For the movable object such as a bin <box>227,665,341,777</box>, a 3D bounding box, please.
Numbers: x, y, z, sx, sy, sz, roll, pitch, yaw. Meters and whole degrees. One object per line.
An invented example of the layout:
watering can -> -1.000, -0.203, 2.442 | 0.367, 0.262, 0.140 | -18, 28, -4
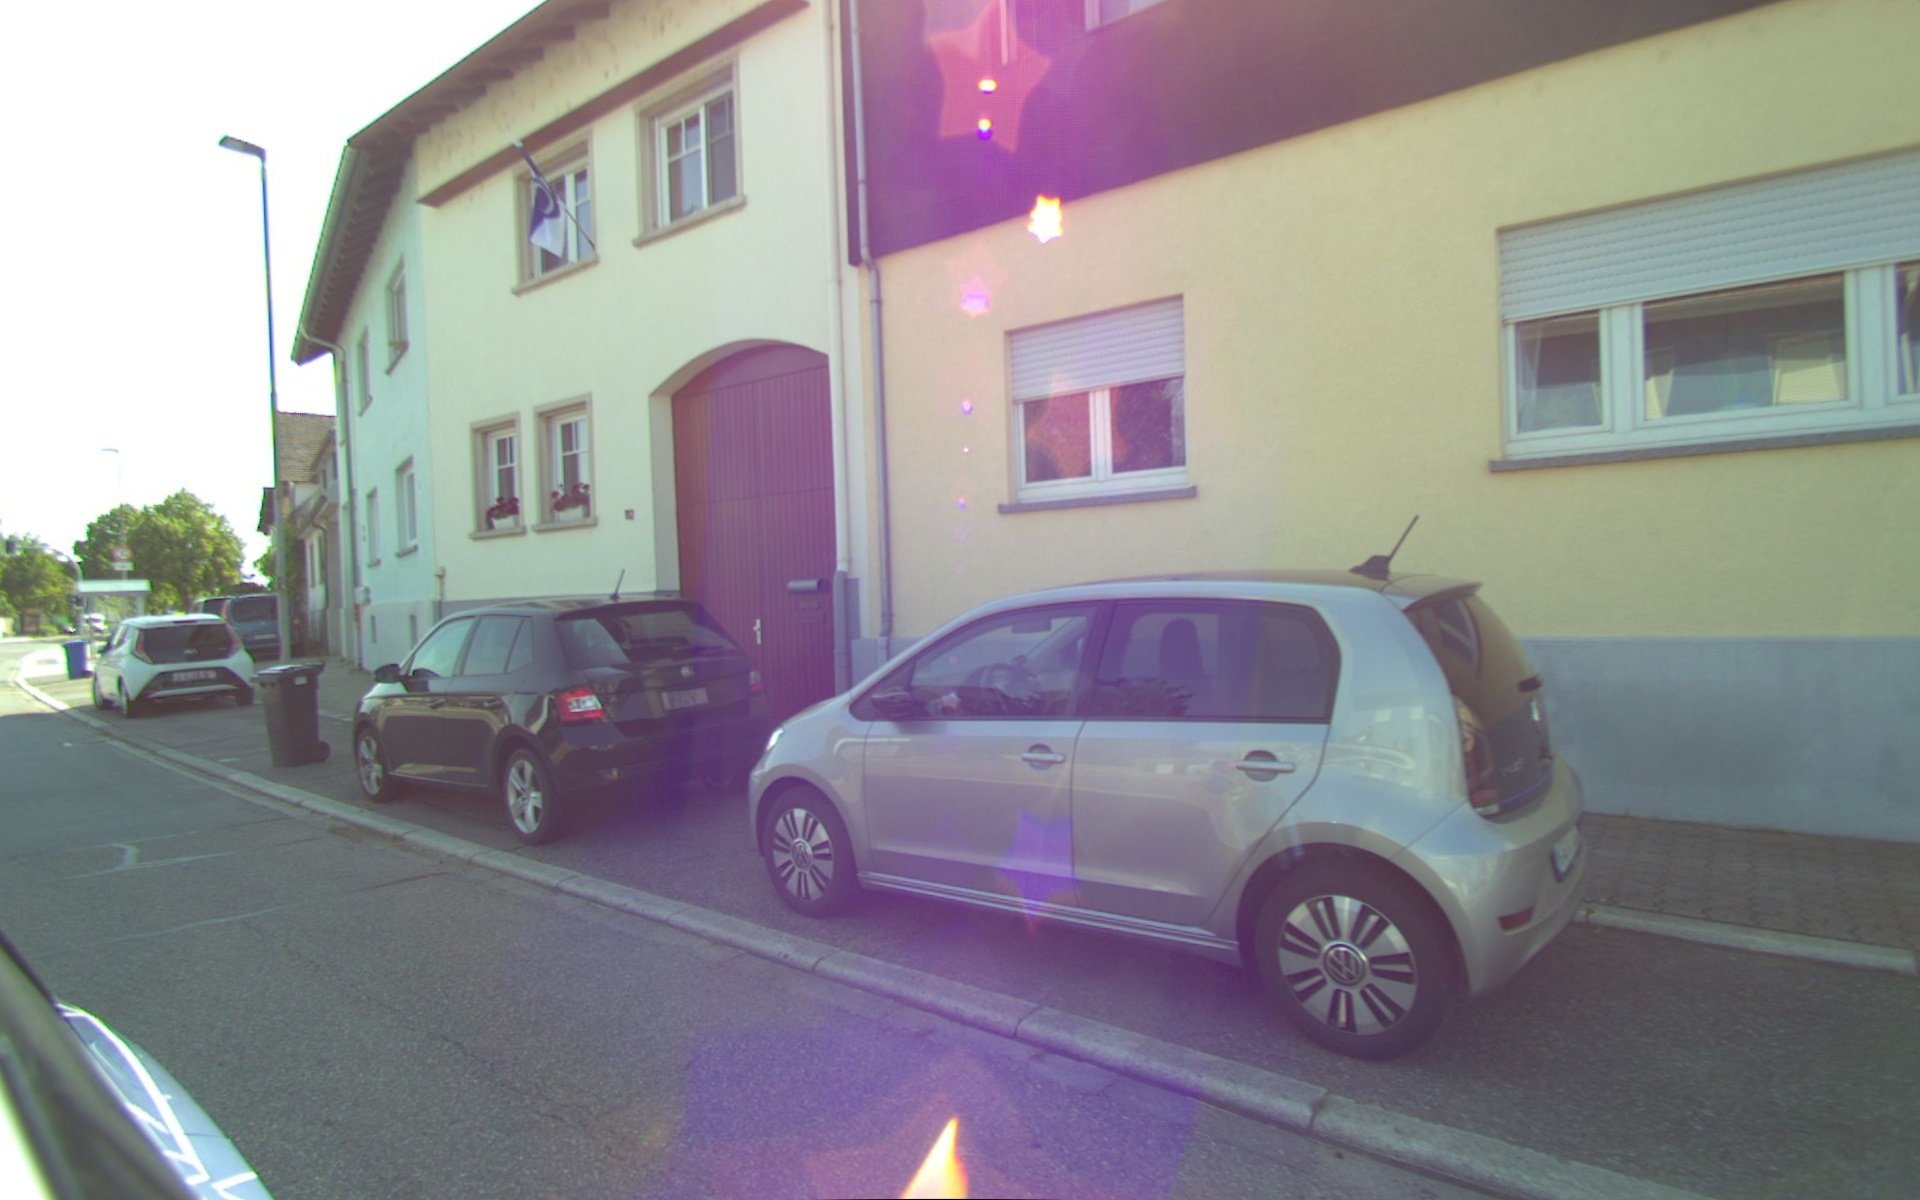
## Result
movable object such as a bin -> -6.398, 1.123, 9.576 | 0.823, 0.935, 0.547 | -2, 4, 34

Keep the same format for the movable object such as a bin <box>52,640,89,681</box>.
movable object such as a bin -> -21.865, 1.489, 24.870 | 0.514, 0.943, 0.552 | -2, 2, 38

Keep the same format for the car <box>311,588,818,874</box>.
car -> -3.054, 0.745, 7.429 | 3.992, 1.447, 1.662 | -1, 4, 40

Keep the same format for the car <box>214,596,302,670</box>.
car -> -19.821, 0.876, 28.680 | 1.812, 1.806, 4.354 | -5, 2, -34

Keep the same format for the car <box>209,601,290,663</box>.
car -> -23.021, 0.969, 32.732 | 1.942, 1.787, 4.286 | -3, 1, -37

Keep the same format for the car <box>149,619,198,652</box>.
car -> -39.479, 1.802, 50.781 | 1.694, 1.464, 3.920 | -4, 0, -41

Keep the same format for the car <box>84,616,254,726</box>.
car -> -12.651, 1.027, 16.107 | 3.651, 1.473, 1.665 | -1, 2, 45

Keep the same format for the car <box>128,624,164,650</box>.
car -> -51.223, 2.304, 63.702 | 1.693, 1.418, 4.407 | -1, 1, -38

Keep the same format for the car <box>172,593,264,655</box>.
car -> -28.661, 0.896, 39.021 | 2.102, 2.000, 5.271 | -9, 5, -42

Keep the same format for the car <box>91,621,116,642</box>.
car -> -106.403, 3.870, 125.760 | 1.908, 2.521, 5.852 | -2, 0, -35

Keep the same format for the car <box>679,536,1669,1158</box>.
car -> 0.641, 0.605, 4.319 | 3.778, 1.512, 1.624 | -1, 3, 40

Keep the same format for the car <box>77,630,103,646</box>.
car -> -98.653, 4.271, 114.828 | 1.817, 1.604, 4.116 | -2, 0, -36
